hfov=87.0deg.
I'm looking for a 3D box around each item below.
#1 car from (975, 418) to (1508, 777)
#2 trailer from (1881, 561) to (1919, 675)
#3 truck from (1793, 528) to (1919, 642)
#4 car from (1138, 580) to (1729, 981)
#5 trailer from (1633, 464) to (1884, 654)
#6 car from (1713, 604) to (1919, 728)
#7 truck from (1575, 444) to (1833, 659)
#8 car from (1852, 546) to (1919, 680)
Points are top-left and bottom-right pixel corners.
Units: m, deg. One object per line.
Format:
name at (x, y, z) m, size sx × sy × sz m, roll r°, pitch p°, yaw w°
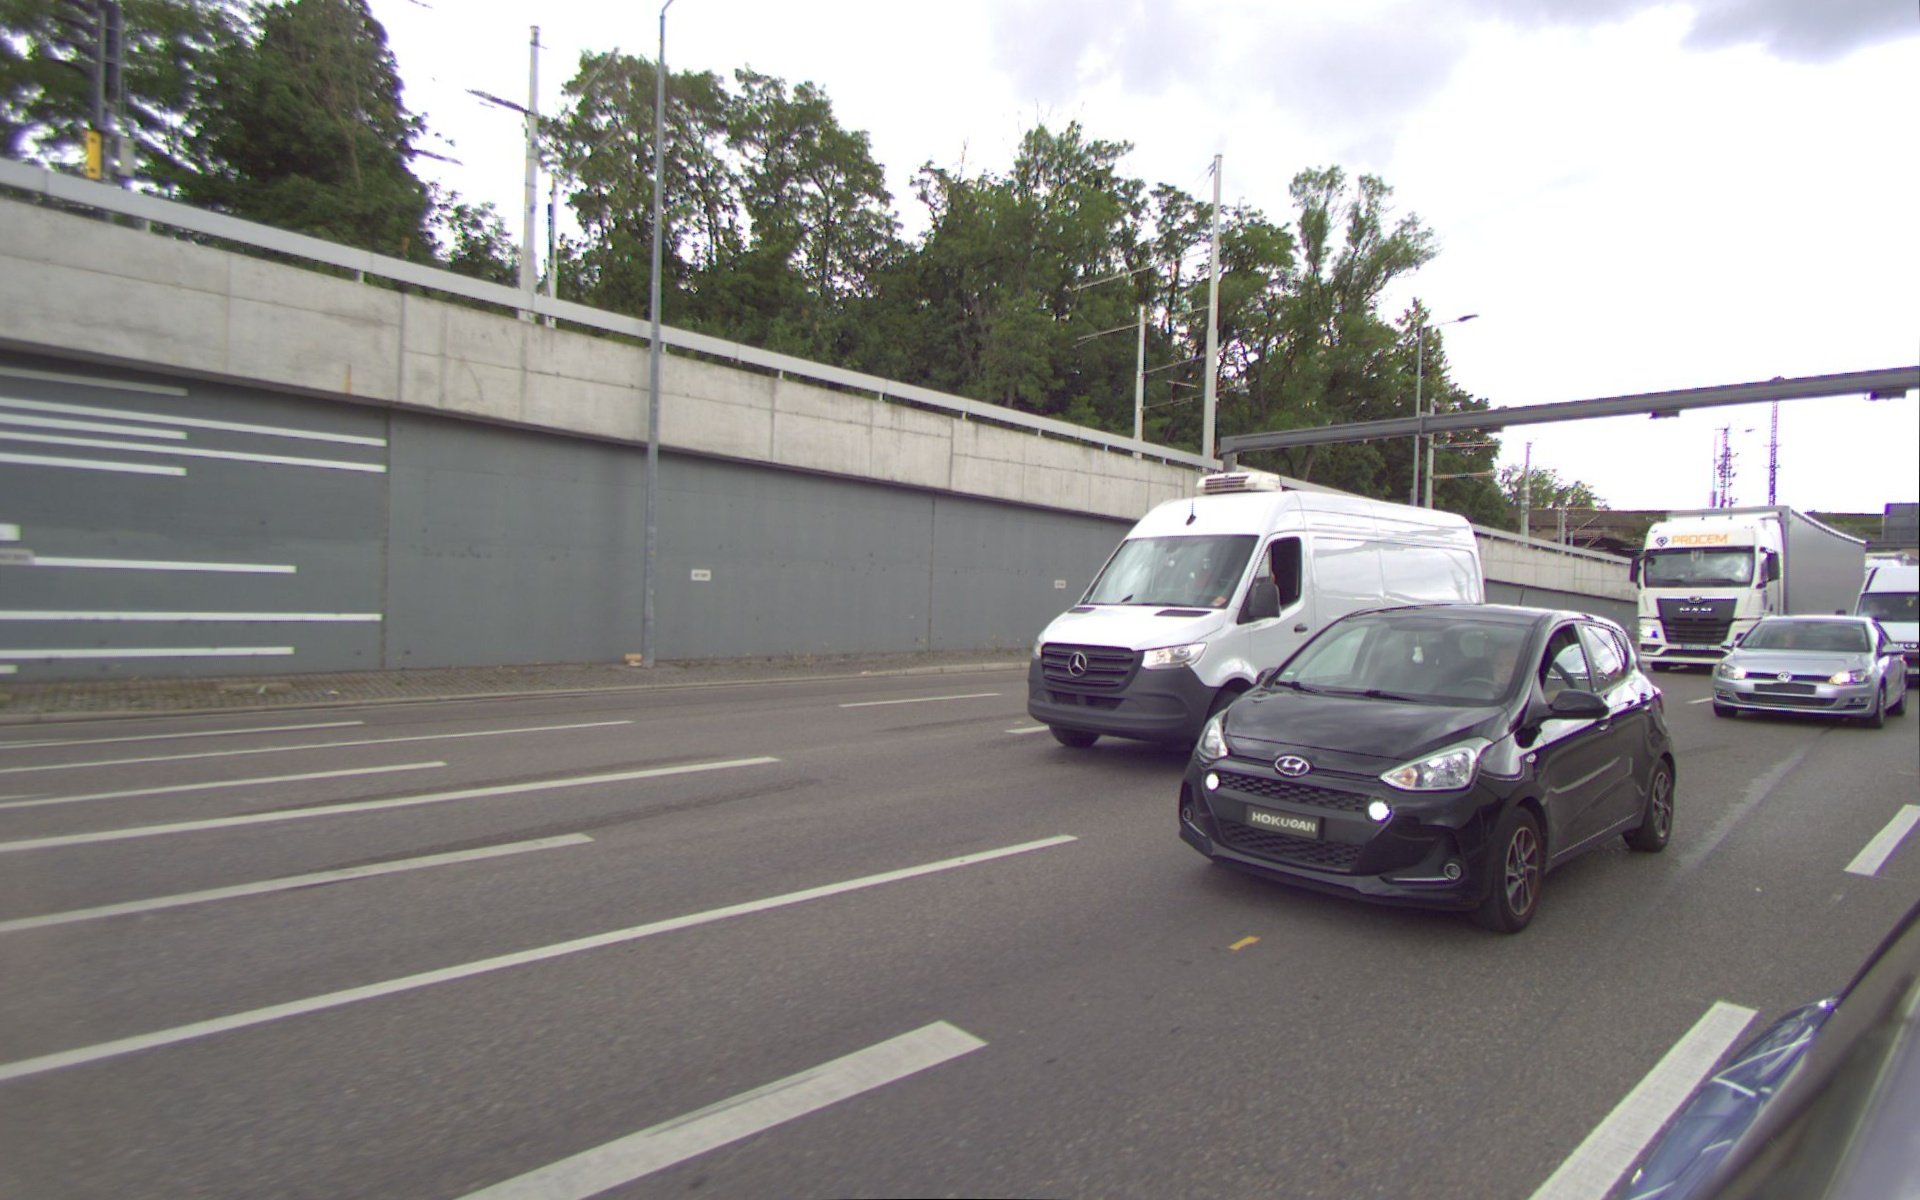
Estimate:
car at (3.520, 0.003, 11.124) m, size 7.199 × 2.808 × 2.078 m, roll 1°, pitch 0°, yaw -42°
trailer at (24.459, 0.407, 24.868) m, size 4.726 × 2.673 × 2.106 m, roll 0°, pitch -3°, yaw -41°
truck at (38.133, -0.504, 42.086) m, size 10.791 × 4.194 × 3.730 m, roll 1°, pitch -1°, yaw -41°
car at (2.869, 0.689, 5.824) m, size 3.627 × 1.564 × 1.685 m, roll -1°, pitch 1°, yaw -39°
trailer at (24.309, -0.962, 30.427) m, size 11.902 × 4.691 × 3.811 m, roll 1°, pitch -1°, yaw -41°
car at (12.069, 0.804, 14.142) m, size 3.970 × 1.400 × 1.766 m, roll 0°, pitch 1°, yaw -42°
truck at (19.165, -1.016, 25.894) m, size 7.312 × 4.691 × 3.811 m, roll 1°, pitch -1°, yaw -41°
car at (21.336, 0.331, 22.088) m, size 5.839 × 2.663 × 2.060 m, roll 2°, pitch -4°, yaw -42°
